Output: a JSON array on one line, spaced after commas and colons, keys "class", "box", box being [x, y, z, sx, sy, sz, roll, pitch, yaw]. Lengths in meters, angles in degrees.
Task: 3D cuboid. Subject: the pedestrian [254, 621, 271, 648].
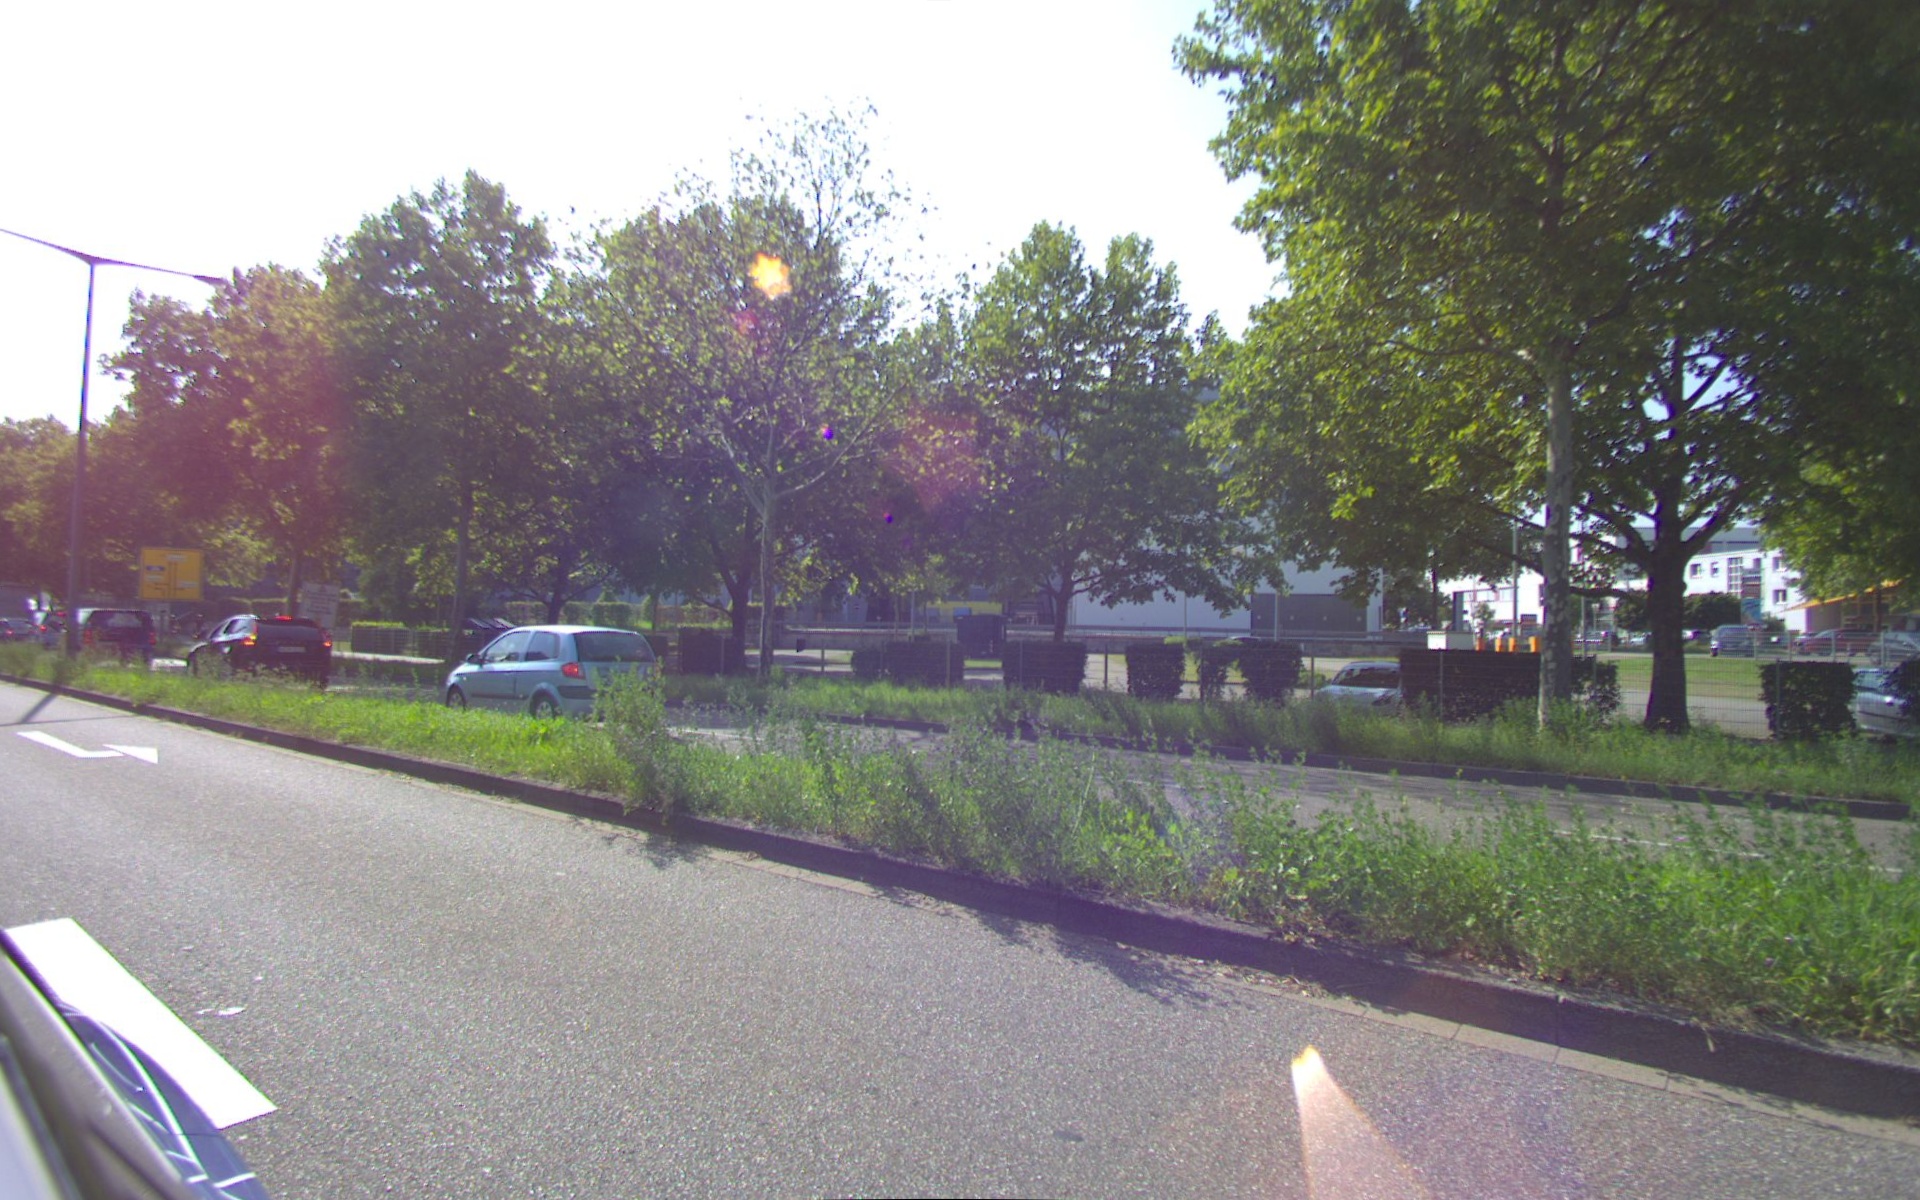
[{"class": "pedestrian", "box": [-42.485, 2.098, 61.603, 0.933, 1.665, 0.611, -1, -1, 39]}]

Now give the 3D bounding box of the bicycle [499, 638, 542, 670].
[{"class": "bicycle", "box": [-15.762, 1.923, 36.254, 1.798, 1.116, 0.641, -1, -3, 39]}]

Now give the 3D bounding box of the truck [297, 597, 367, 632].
[{"class": "truck", "box": [-53.028, 1.220, 85.621, 2.209, 2.883, 5.902, 0, -1, 1]}]

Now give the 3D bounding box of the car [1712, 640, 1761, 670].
[{"class": "car", "box": [42.802, 3.002, 55.739, 1.840, 1.556, 3.944, -2, -3, 42]}]

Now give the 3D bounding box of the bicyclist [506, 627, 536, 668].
[{"class": "bicyclist", "box": [-15.733, 1.706, 36.256, 0.839, 1.450, 0.642, -1, -3, 39]}]

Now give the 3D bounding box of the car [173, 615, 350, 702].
[{"class": "car", "box": [-15.499, 1.206, 22.370, 4.498, 1.719, 1.974, -1, -1, 38]}]

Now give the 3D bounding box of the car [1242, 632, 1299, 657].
[{"class": "car", "box": [18.882, 2.704, 61.700, 3.088, 1.447, 1.379, 0, -1, 6]}]

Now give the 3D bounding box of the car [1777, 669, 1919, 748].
[{"class": "car", "box": [18.338, 2.089, 19.764, 1.569, 1.266, 3.997, 0, -1, 2]}]

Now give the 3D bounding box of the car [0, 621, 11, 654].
[{"class": "car", "box": [-45.680, 1.755, 47.159, 3.488, 1.497, 1.660, -1, -1, 39]}]

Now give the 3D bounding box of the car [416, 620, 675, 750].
[{"class": "car", "box": [-5.970, 1.076, 14.392, 3.996, 1.586, 1.755, -1, -1, 40]}]

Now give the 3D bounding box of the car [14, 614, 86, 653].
[{"class": "car", "box": [-46.832, 1.727, 52.061, 4.965, 1.873, 1.964, -1, -4, 40]}]

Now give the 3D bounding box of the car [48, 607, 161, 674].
[{"class": "car", "box": [-27.864, 1.300, 32.903, 4.561, 2.043, 1.913, -1, -3, 39]}]

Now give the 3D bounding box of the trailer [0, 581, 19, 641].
[{"class": "trailer", "box": [-67.136, 0.740, 68.854, 13.798, 3.851, 2.607, -1, -4, 40]}]

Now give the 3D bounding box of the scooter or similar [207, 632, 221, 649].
[{"class": "scooter or similar", "box": [-52.648, 2.853, 71.399, 1.380, 1.136, 0.503, -1, -1, 41]}]

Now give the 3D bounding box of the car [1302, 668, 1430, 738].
[{"class": "car", "box": [9.327, 2.278, 23.093, 1.817, 1.320, 3.951, -1, -3, 36]}]
